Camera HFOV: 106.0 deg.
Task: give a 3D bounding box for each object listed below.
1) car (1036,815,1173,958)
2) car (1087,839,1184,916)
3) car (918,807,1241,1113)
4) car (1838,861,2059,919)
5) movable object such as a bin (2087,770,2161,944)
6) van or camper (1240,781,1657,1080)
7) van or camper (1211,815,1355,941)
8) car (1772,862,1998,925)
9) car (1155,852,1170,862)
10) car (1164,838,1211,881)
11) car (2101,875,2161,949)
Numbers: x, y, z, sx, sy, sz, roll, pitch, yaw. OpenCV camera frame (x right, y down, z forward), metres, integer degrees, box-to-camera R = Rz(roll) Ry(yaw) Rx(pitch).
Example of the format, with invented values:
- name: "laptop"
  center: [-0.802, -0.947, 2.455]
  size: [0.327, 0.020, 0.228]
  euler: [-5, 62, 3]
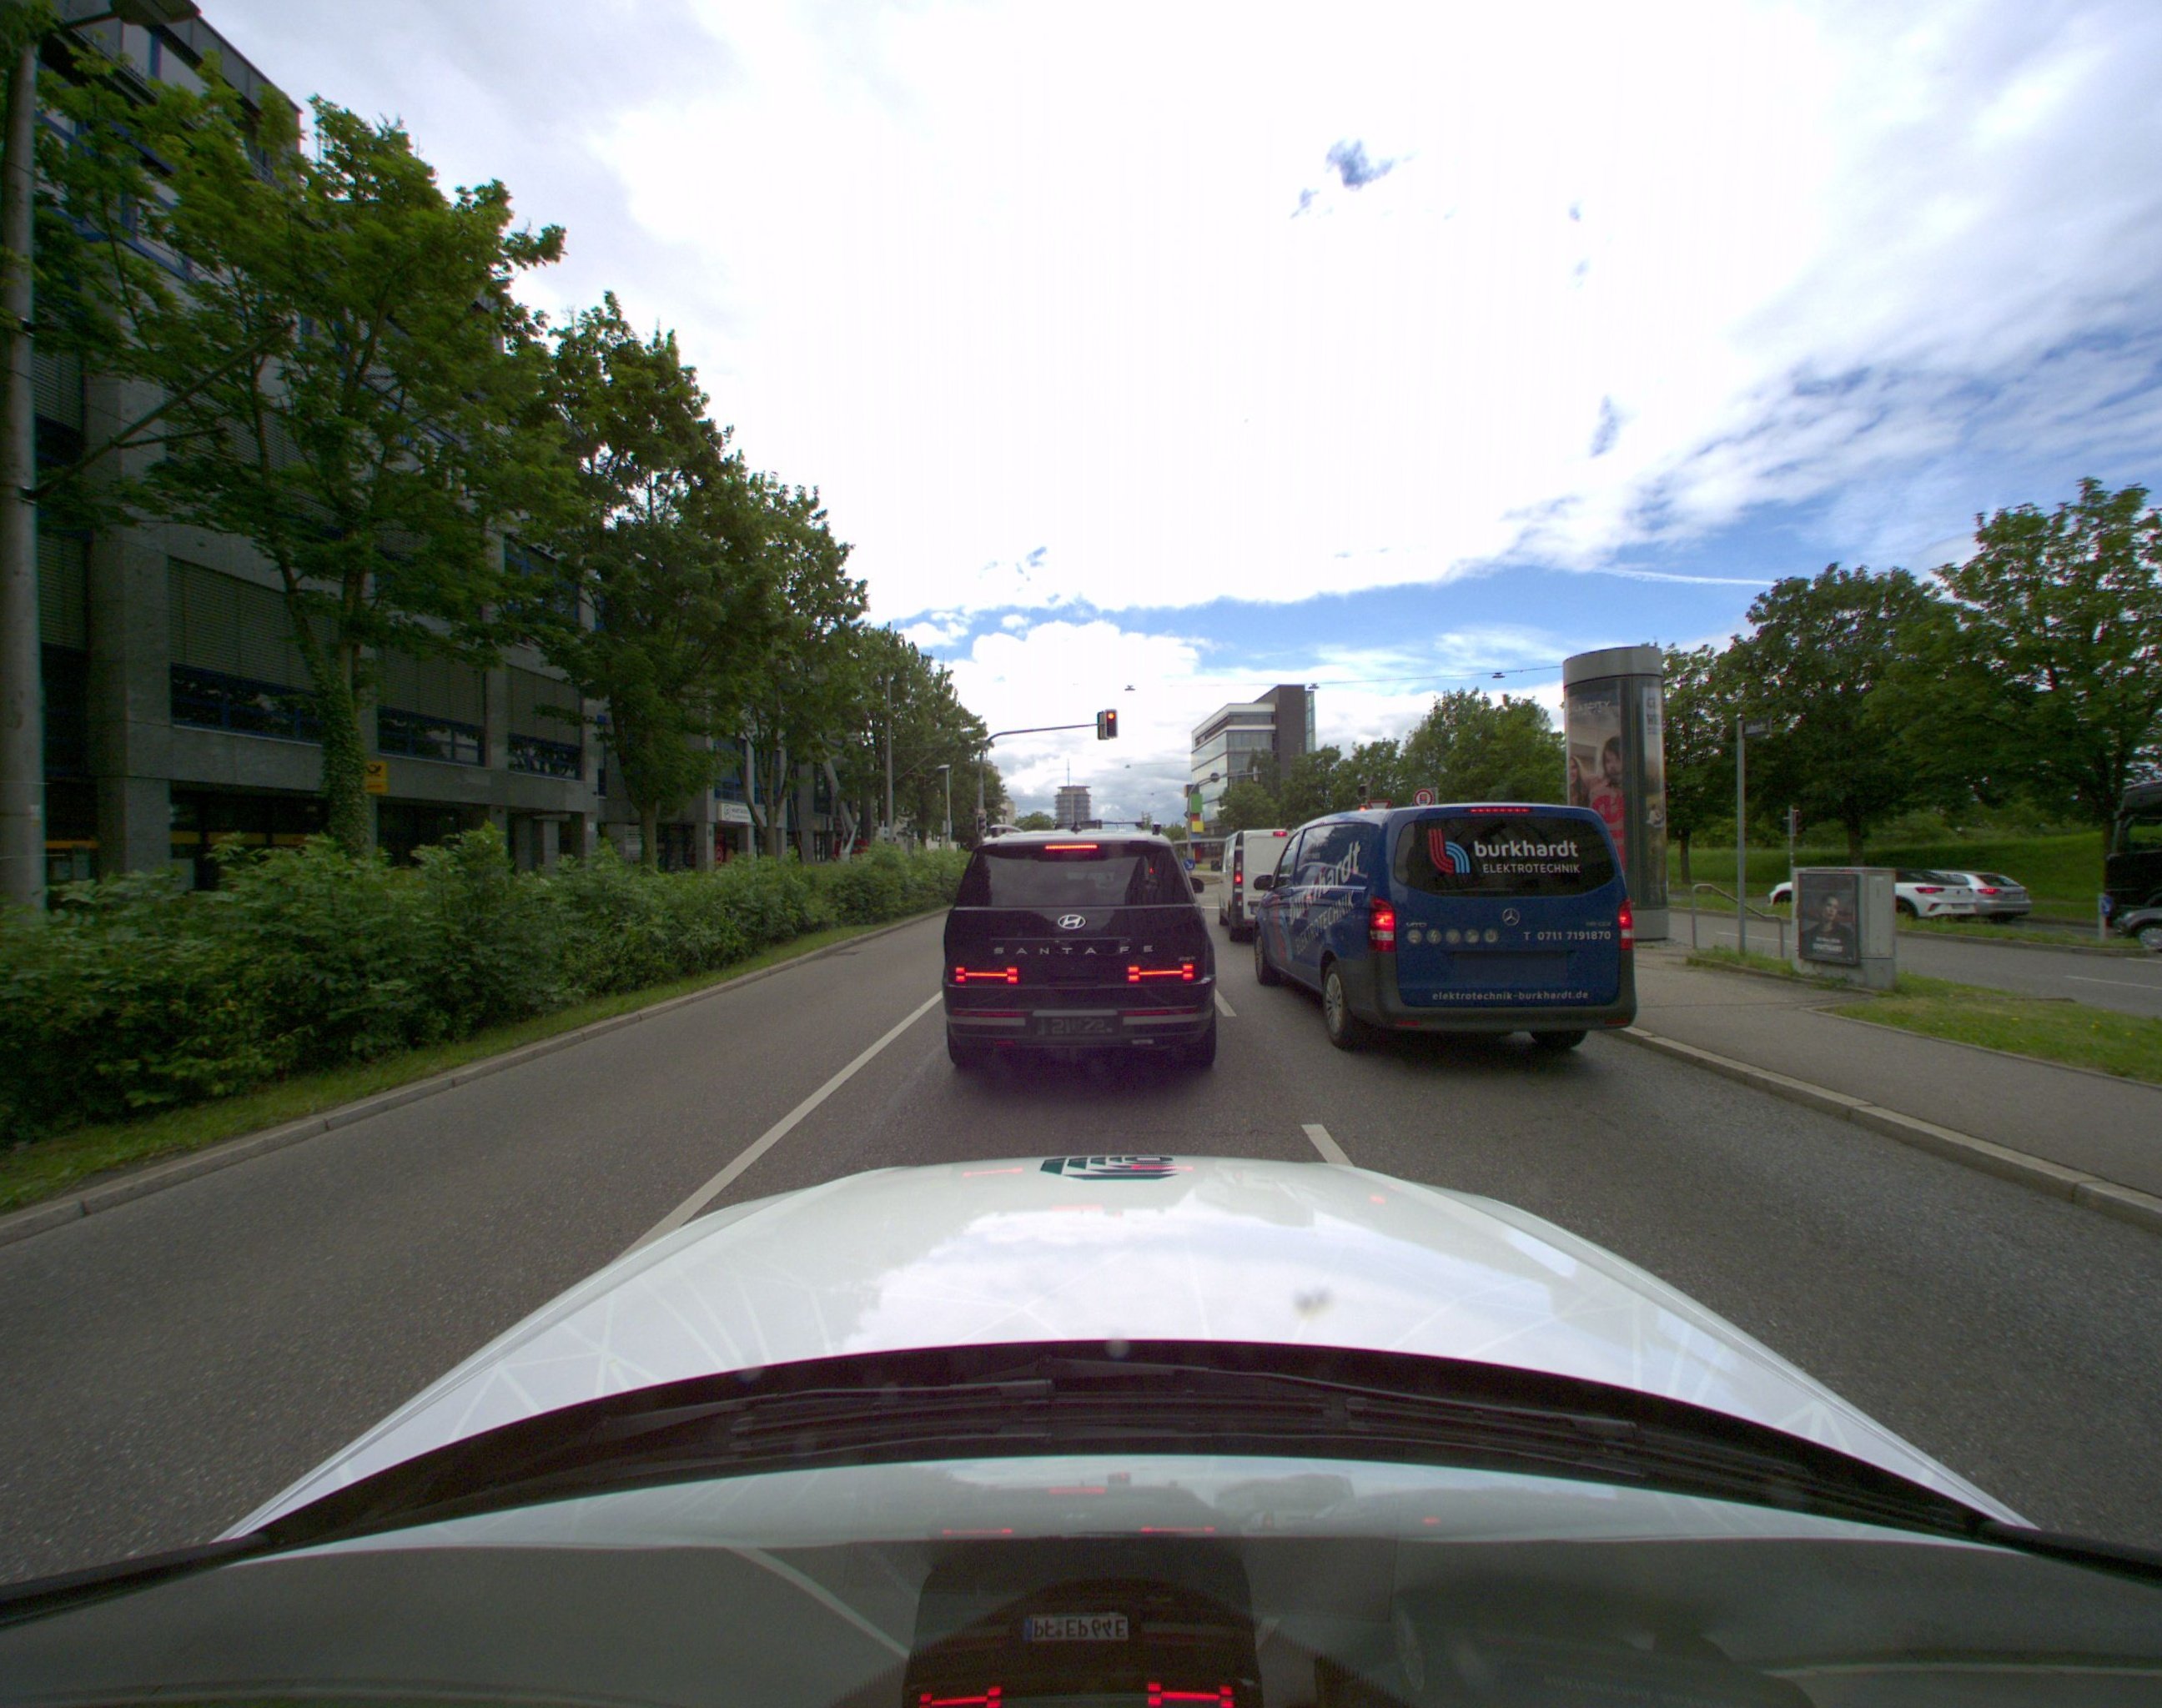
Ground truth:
- name: "car"
  center: [0.398, 0.467, 13.585]
  size: [1.908, 2.003, 3.881]
  euler: [-1, 0, 2]
- name: "car"
  center: [1.484, 0.562, 20.535]
  size: [1.764, 1.717, 4.353]
  euler: [-1, -1, 12]
- name: "car"
  center: [0.051, 0.625, 6.739]
  size: [1.862, 1.760, 3.881]
  euler: [-1, 0, 2]
- name: "car"
  center: [25.103, 0.994, 23.786]
  size: [1.994, 1.453, 3.985]
  euler: [1, 0, -11]
- name: "movable object such as a bin"
  center: [26.263, 0.008, 15.518]
  size: [2.860, 3.903, 8.536]
  euler: [-1, -1, -11]
- name: "van or camper"
  center: [2.896, 0.503, 7.852]
  size: [1.853, 1.911, 5.034]
  euler: [-1, 0, 2]
- name: "van or camper"
  center: [3.628, 0.388, 15.472]
  size: [1.984, 2.013, 4.660]
  euler: [-1, 0, 6]
- name: "car"
  center: [21.770, 1.014, 22.289]
  size: [1.994, 1.453, 3.985]
  euler: [1, 0, -11]
- name: "car"
  center: [13.181, 0.499, 131.726]
  size: [1.987, 1.684, 3.998]
  euler: [-1, -1, -1]
- name: "car"
  center: [5.219, 0.262, 40.432]
  size: [1.985, 2.014, 4.003]
  euler: [-1, -1, 3]
- name: "car"
  center: [23.008, 1.217, 15.537]
  size: [1.994, 1.453, 3.985]
  euler: [1, 0, -11]
